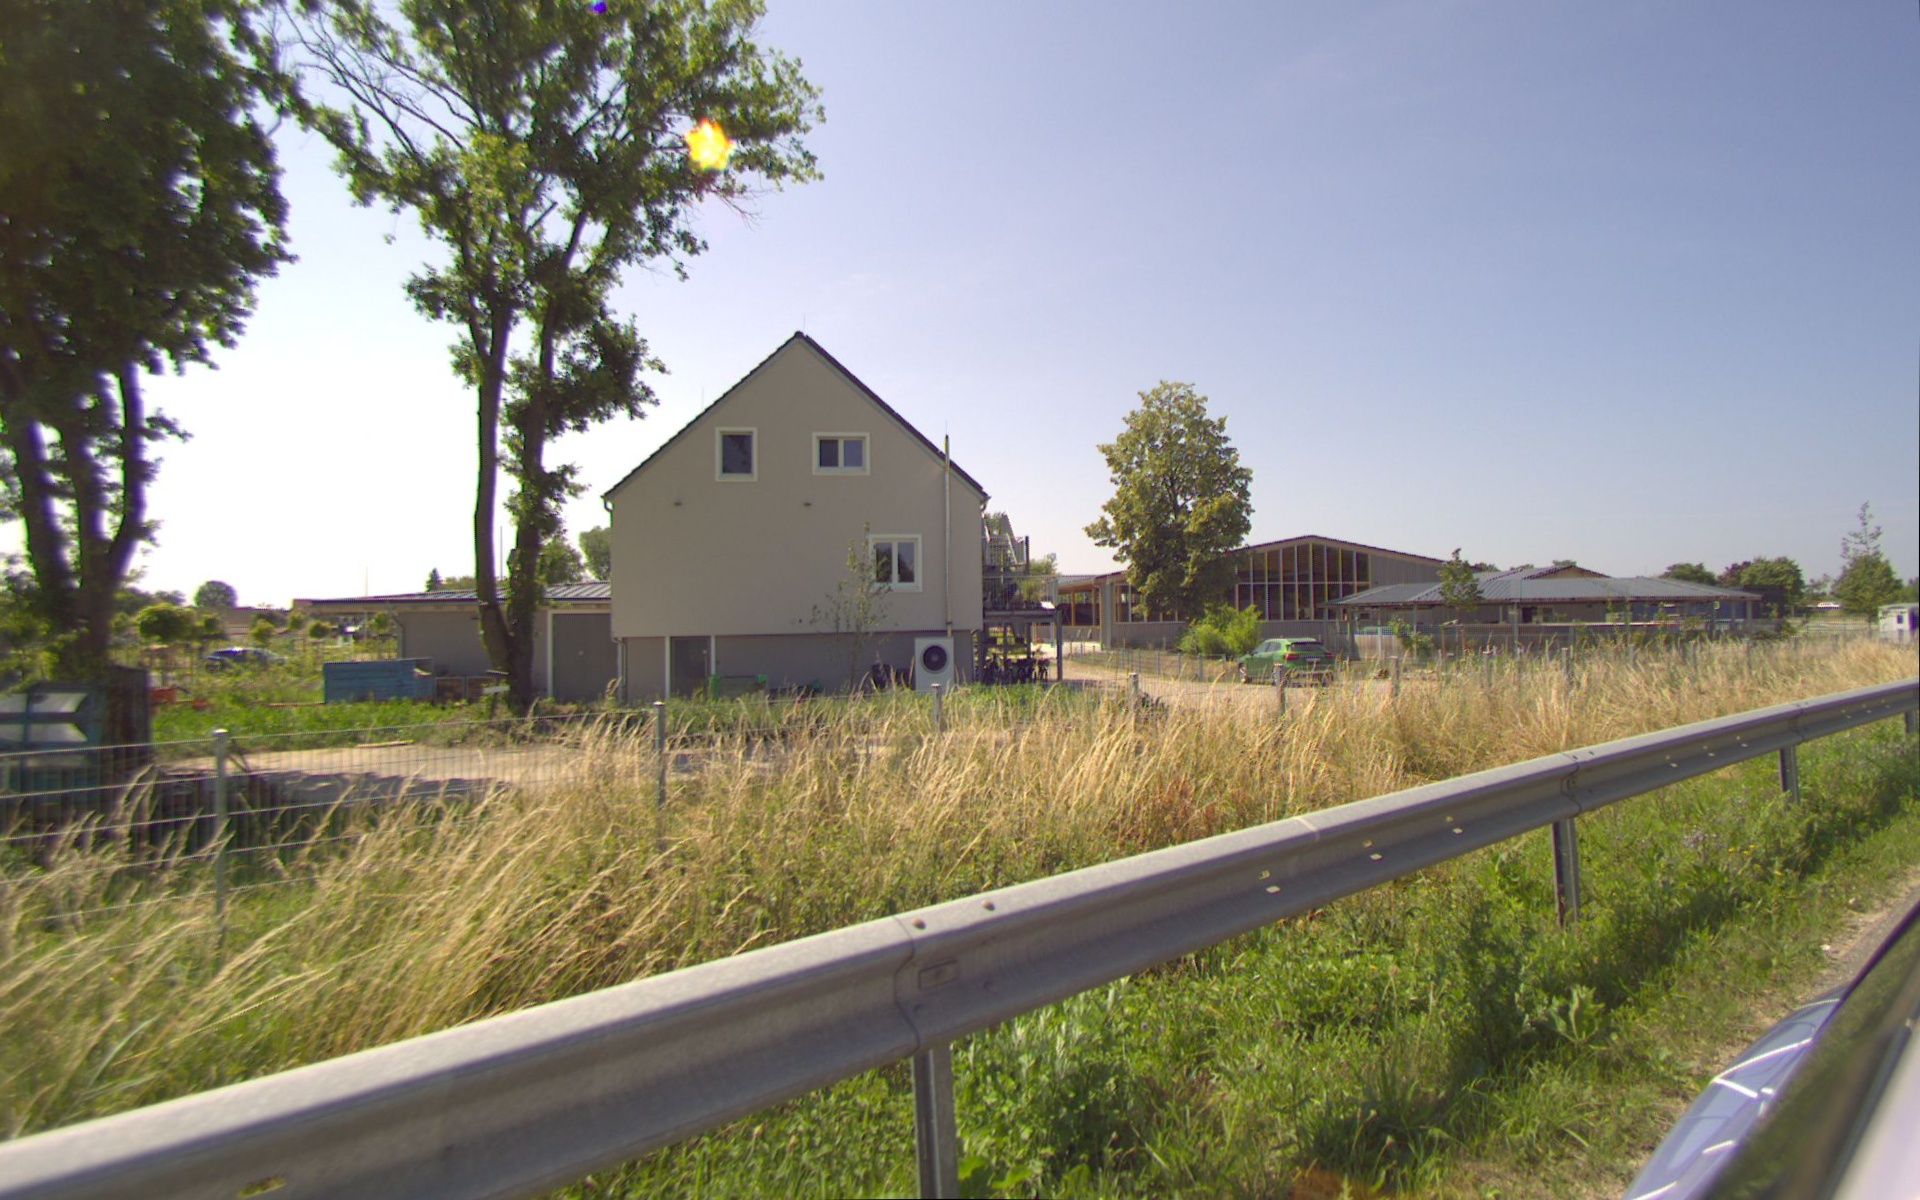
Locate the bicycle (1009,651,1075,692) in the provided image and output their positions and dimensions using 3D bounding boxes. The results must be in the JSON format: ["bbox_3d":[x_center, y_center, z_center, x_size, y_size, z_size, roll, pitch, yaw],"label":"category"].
[{"bbox_3d":[2.532,2.212,31.390,1.931,1.207,0.715,-1,-3,-4],"label":"bicycle"}]

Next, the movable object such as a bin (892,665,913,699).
[{"bbox_3d":[-1.638,2.317,28.787,0.549,0.922,0.504,-1,-2,-4],"label":"movable object such as a bin"}]

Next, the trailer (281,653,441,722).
[{"bbox_3d":[-15.410,2.235,26.134,3.083,1.515,1.715,-3,-2,1],"label":"trailer"}]

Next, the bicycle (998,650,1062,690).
[{"bbox_3d":[2.233,2.217,32.321,1.930,1.207,0.715,-1,-3,-5],"label":"bicycle"}]

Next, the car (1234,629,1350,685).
[{"bbox_3d":[10.758,1.829,33.186,1.895,1.601,4.376,-3,-2,-6],"label":"car"}]

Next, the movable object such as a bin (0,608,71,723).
[{"bbox_3d":[-26.868,1.698,25.226,6.368,2.806,3.017,0,-3,-19],"label":"movable object such as a bin"}]

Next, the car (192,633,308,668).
[{"bbox_3d":[-35.718,2.529,51.011,4.367,1.595,2.002,-1,-1,-9],"label":"car"}]

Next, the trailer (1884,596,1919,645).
[{"bbox_3d":[56.853,1.176,59.480,2.148,2.704,4.452,-1,0,20],"label":"trailer"}]

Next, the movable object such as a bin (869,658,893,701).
[{"bbox_3d":[-2.234,2.231,28.607,0.648,1.165,0.579,-1,-2,-4],"label":"movable object such as a bin"}]

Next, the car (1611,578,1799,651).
[{"bbox_3d":[41.003,0.860,56.255,2.723,3.700,9.006,-1,-2,-8],"label":"car"}]
